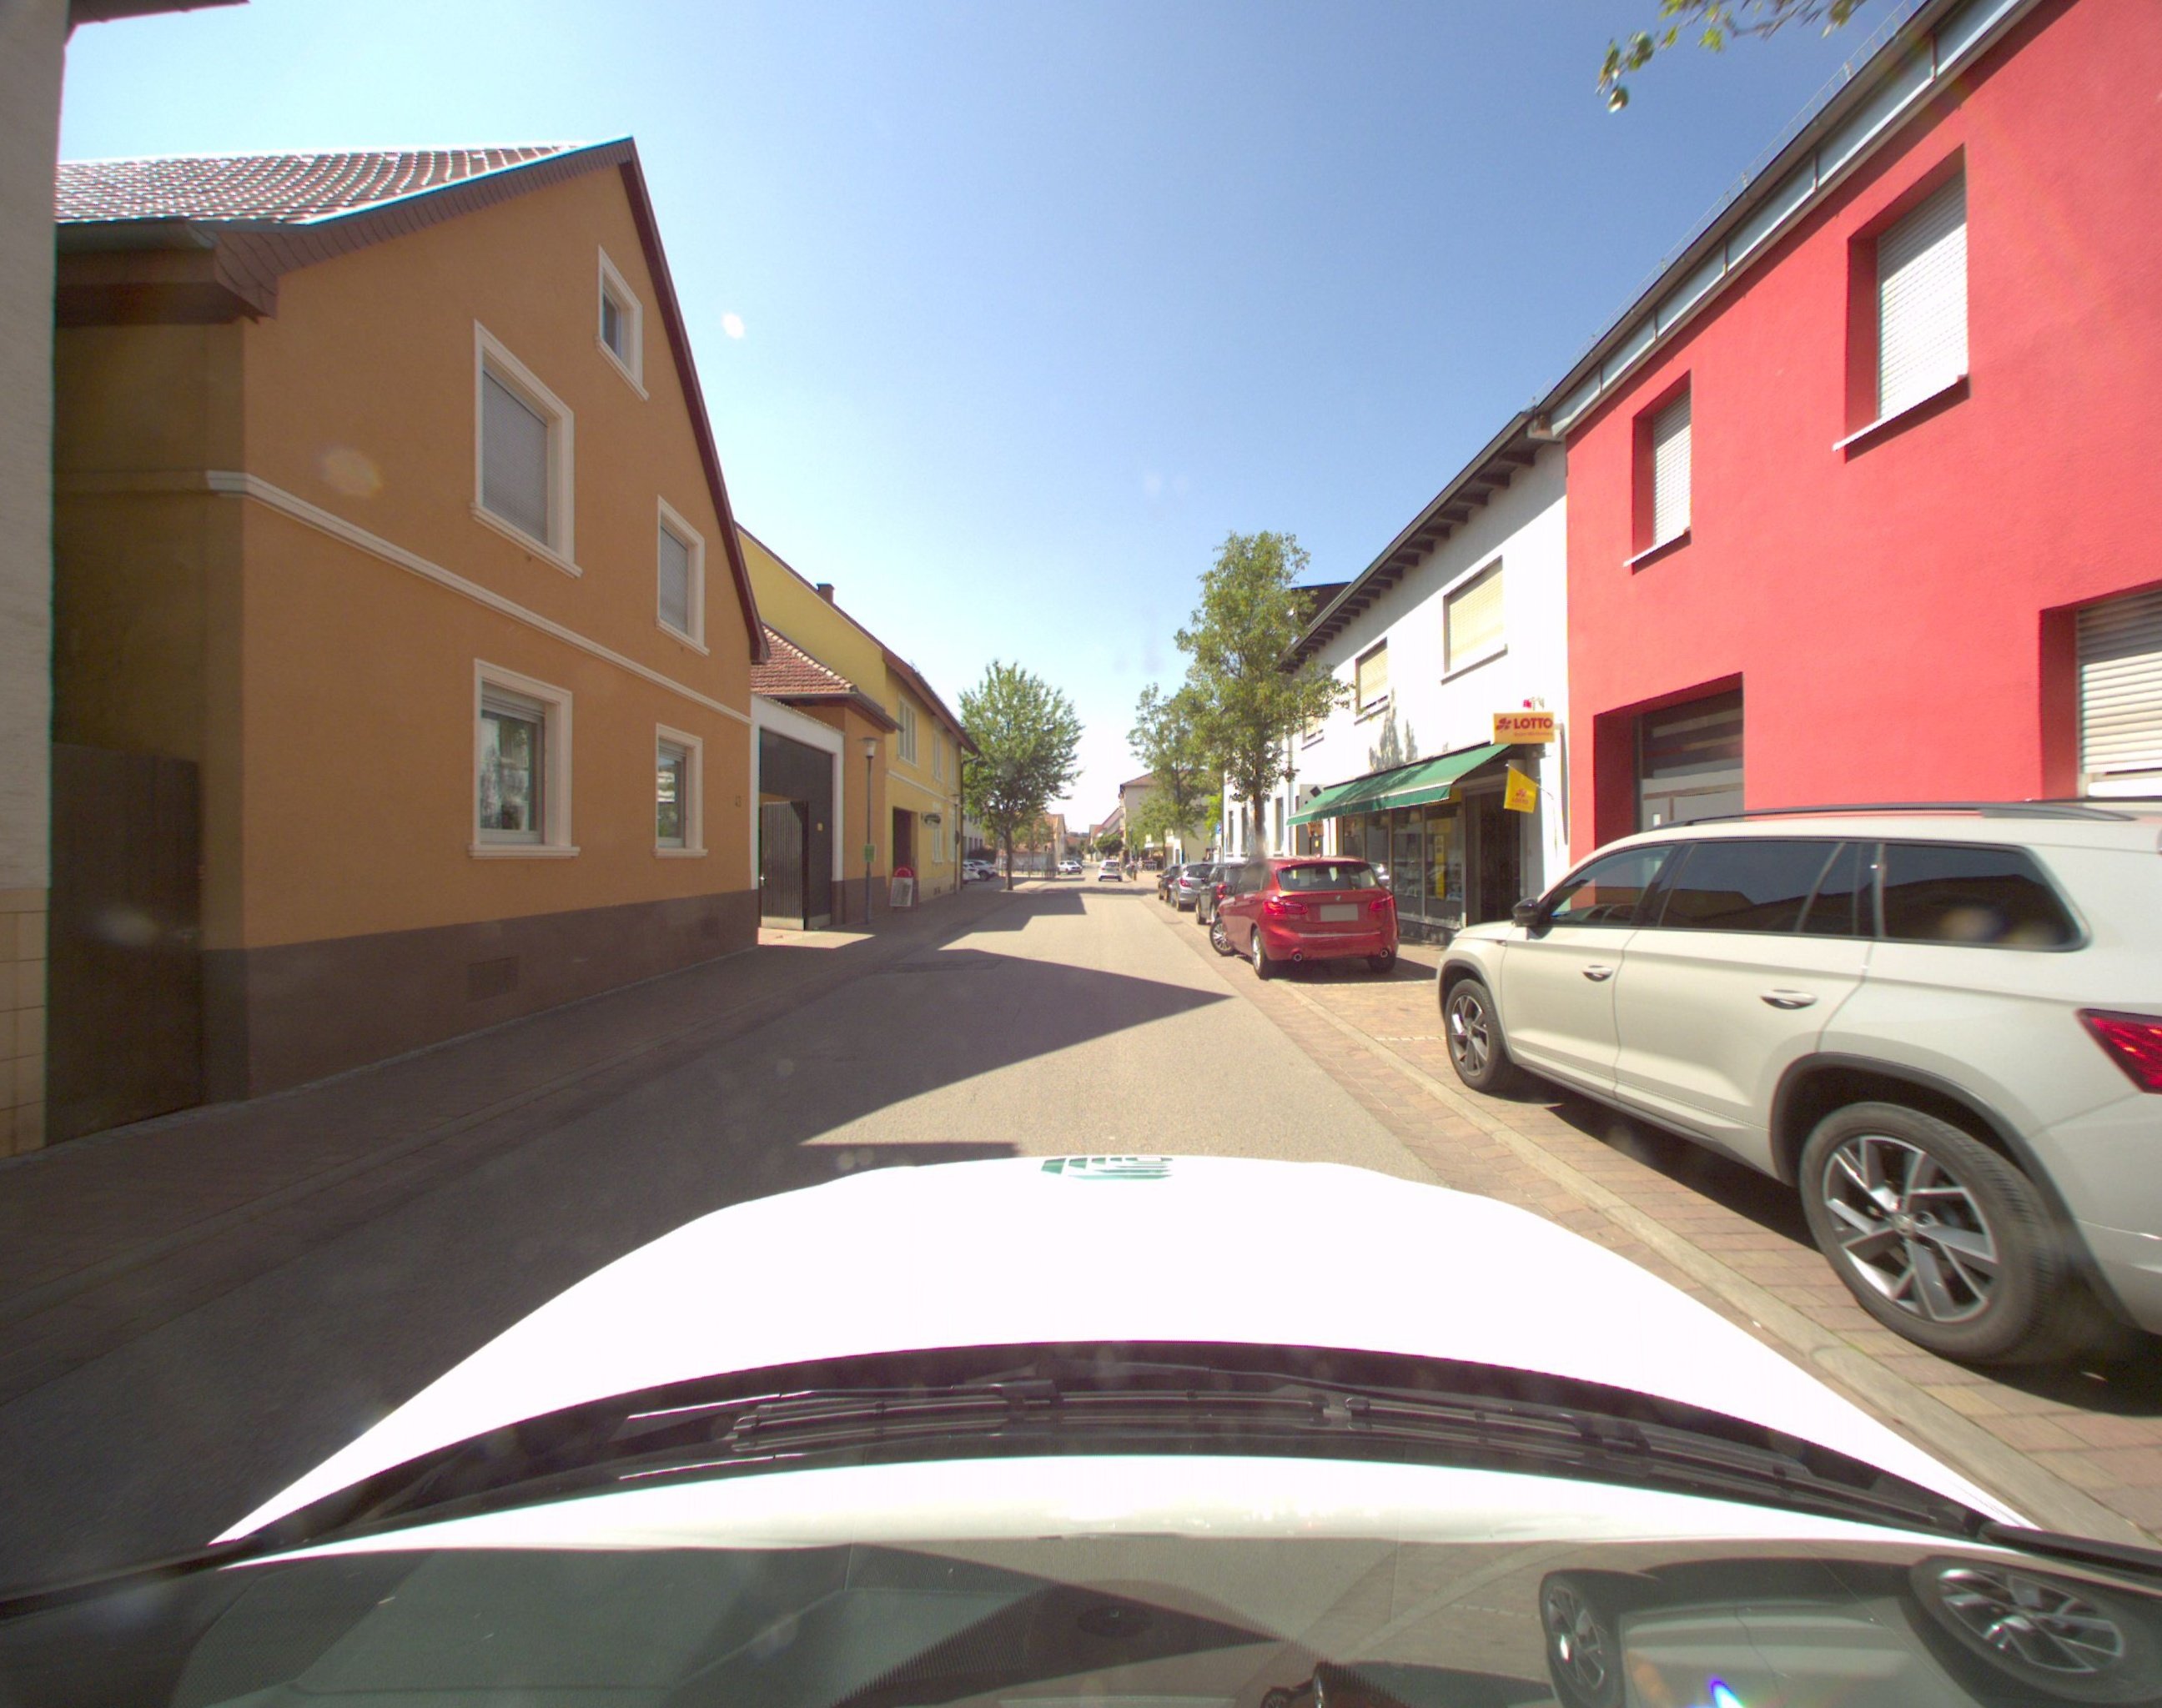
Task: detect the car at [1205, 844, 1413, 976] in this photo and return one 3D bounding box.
[{"bbox_3d":[3.067,0.690,11.874,1.824,1.588,4.085,0,0,-1],"label":"car"}]

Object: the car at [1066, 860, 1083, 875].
[{"bbox_3d":[-0.708,1.583,94.350,1.845,1.574,4.000,2,-2,1],"label":"car"}]

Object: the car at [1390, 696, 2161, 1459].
[{"bbox_3d":[3.301,0.509,3.882,1.861,1.684,4.660,0,0,-1],"label":"car"}]

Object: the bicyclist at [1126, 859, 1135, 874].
[{"bbox_3d":[5.098,1.301,83.743,0.760,1.582,0.667,0,-1,-15],"label":"bicyclist"}]

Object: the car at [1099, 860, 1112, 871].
[{"bbox_3d":[3.769,1.726,123.916,1.797,1.502,4.003,2,-1,3],"label":"car"}]

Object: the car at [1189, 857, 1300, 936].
[{"bbox_3d":[3.568,0.864,18.384,1.731,1.513,3.735,3,0,1],"label":"car"}]

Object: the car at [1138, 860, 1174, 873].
[{"bbox_3d":[9.807,1.631,106.492,4.423,1.464,1.879,2,-2,-11],"label":"car"}]

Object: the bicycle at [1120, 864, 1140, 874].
[{"bbox_3d":[5.053,1.552,83.726,1.893,0.958,0.672,0,-1,-16],"label":"bicycle"}]

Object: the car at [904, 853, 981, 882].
[{"bbox_3d":[-8.874,0.869,52.383,4.489,1.554,1.934,3,-3,0],"label":"car"}]

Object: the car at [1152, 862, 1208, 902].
[{"bbox_3d":[3.785,1.042,31.743,1.698,1.481,3.921,0,0,0],"label":"car"}]

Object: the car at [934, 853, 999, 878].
[{"bbox_3d":[-8.499,0.905,60.828,4.493,1.554,2.147,3,-2,-1],"label":"car"}]

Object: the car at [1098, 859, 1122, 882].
[{"bbox_3d":[2.219,1.238,62.265,1.827,1.652,4.001,0,-1,2],"label":"car"}]

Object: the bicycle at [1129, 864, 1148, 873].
[{"bbox_3d":[6.051,1.550,85.399,1.896,0.958,0.671,1,-2,-20],"label":"bicycle"}]

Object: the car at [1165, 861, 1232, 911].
[{"bbox_3d":[3.685,0.954,26.124,1.711,1.481,4.097,0,0,2],"label":"car"}]

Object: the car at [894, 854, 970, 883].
[{"bbox_3d":[-8.596,0.837,47.315,3.975,1.451,1.806,3,-1,-1],"label":"car"}]

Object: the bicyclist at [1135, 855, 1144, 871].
[{"bbox_3d":[6.099,0.900,85.434,0.761,1.664,0.666,1,-2,-20],"label":"bicyclist"}]
